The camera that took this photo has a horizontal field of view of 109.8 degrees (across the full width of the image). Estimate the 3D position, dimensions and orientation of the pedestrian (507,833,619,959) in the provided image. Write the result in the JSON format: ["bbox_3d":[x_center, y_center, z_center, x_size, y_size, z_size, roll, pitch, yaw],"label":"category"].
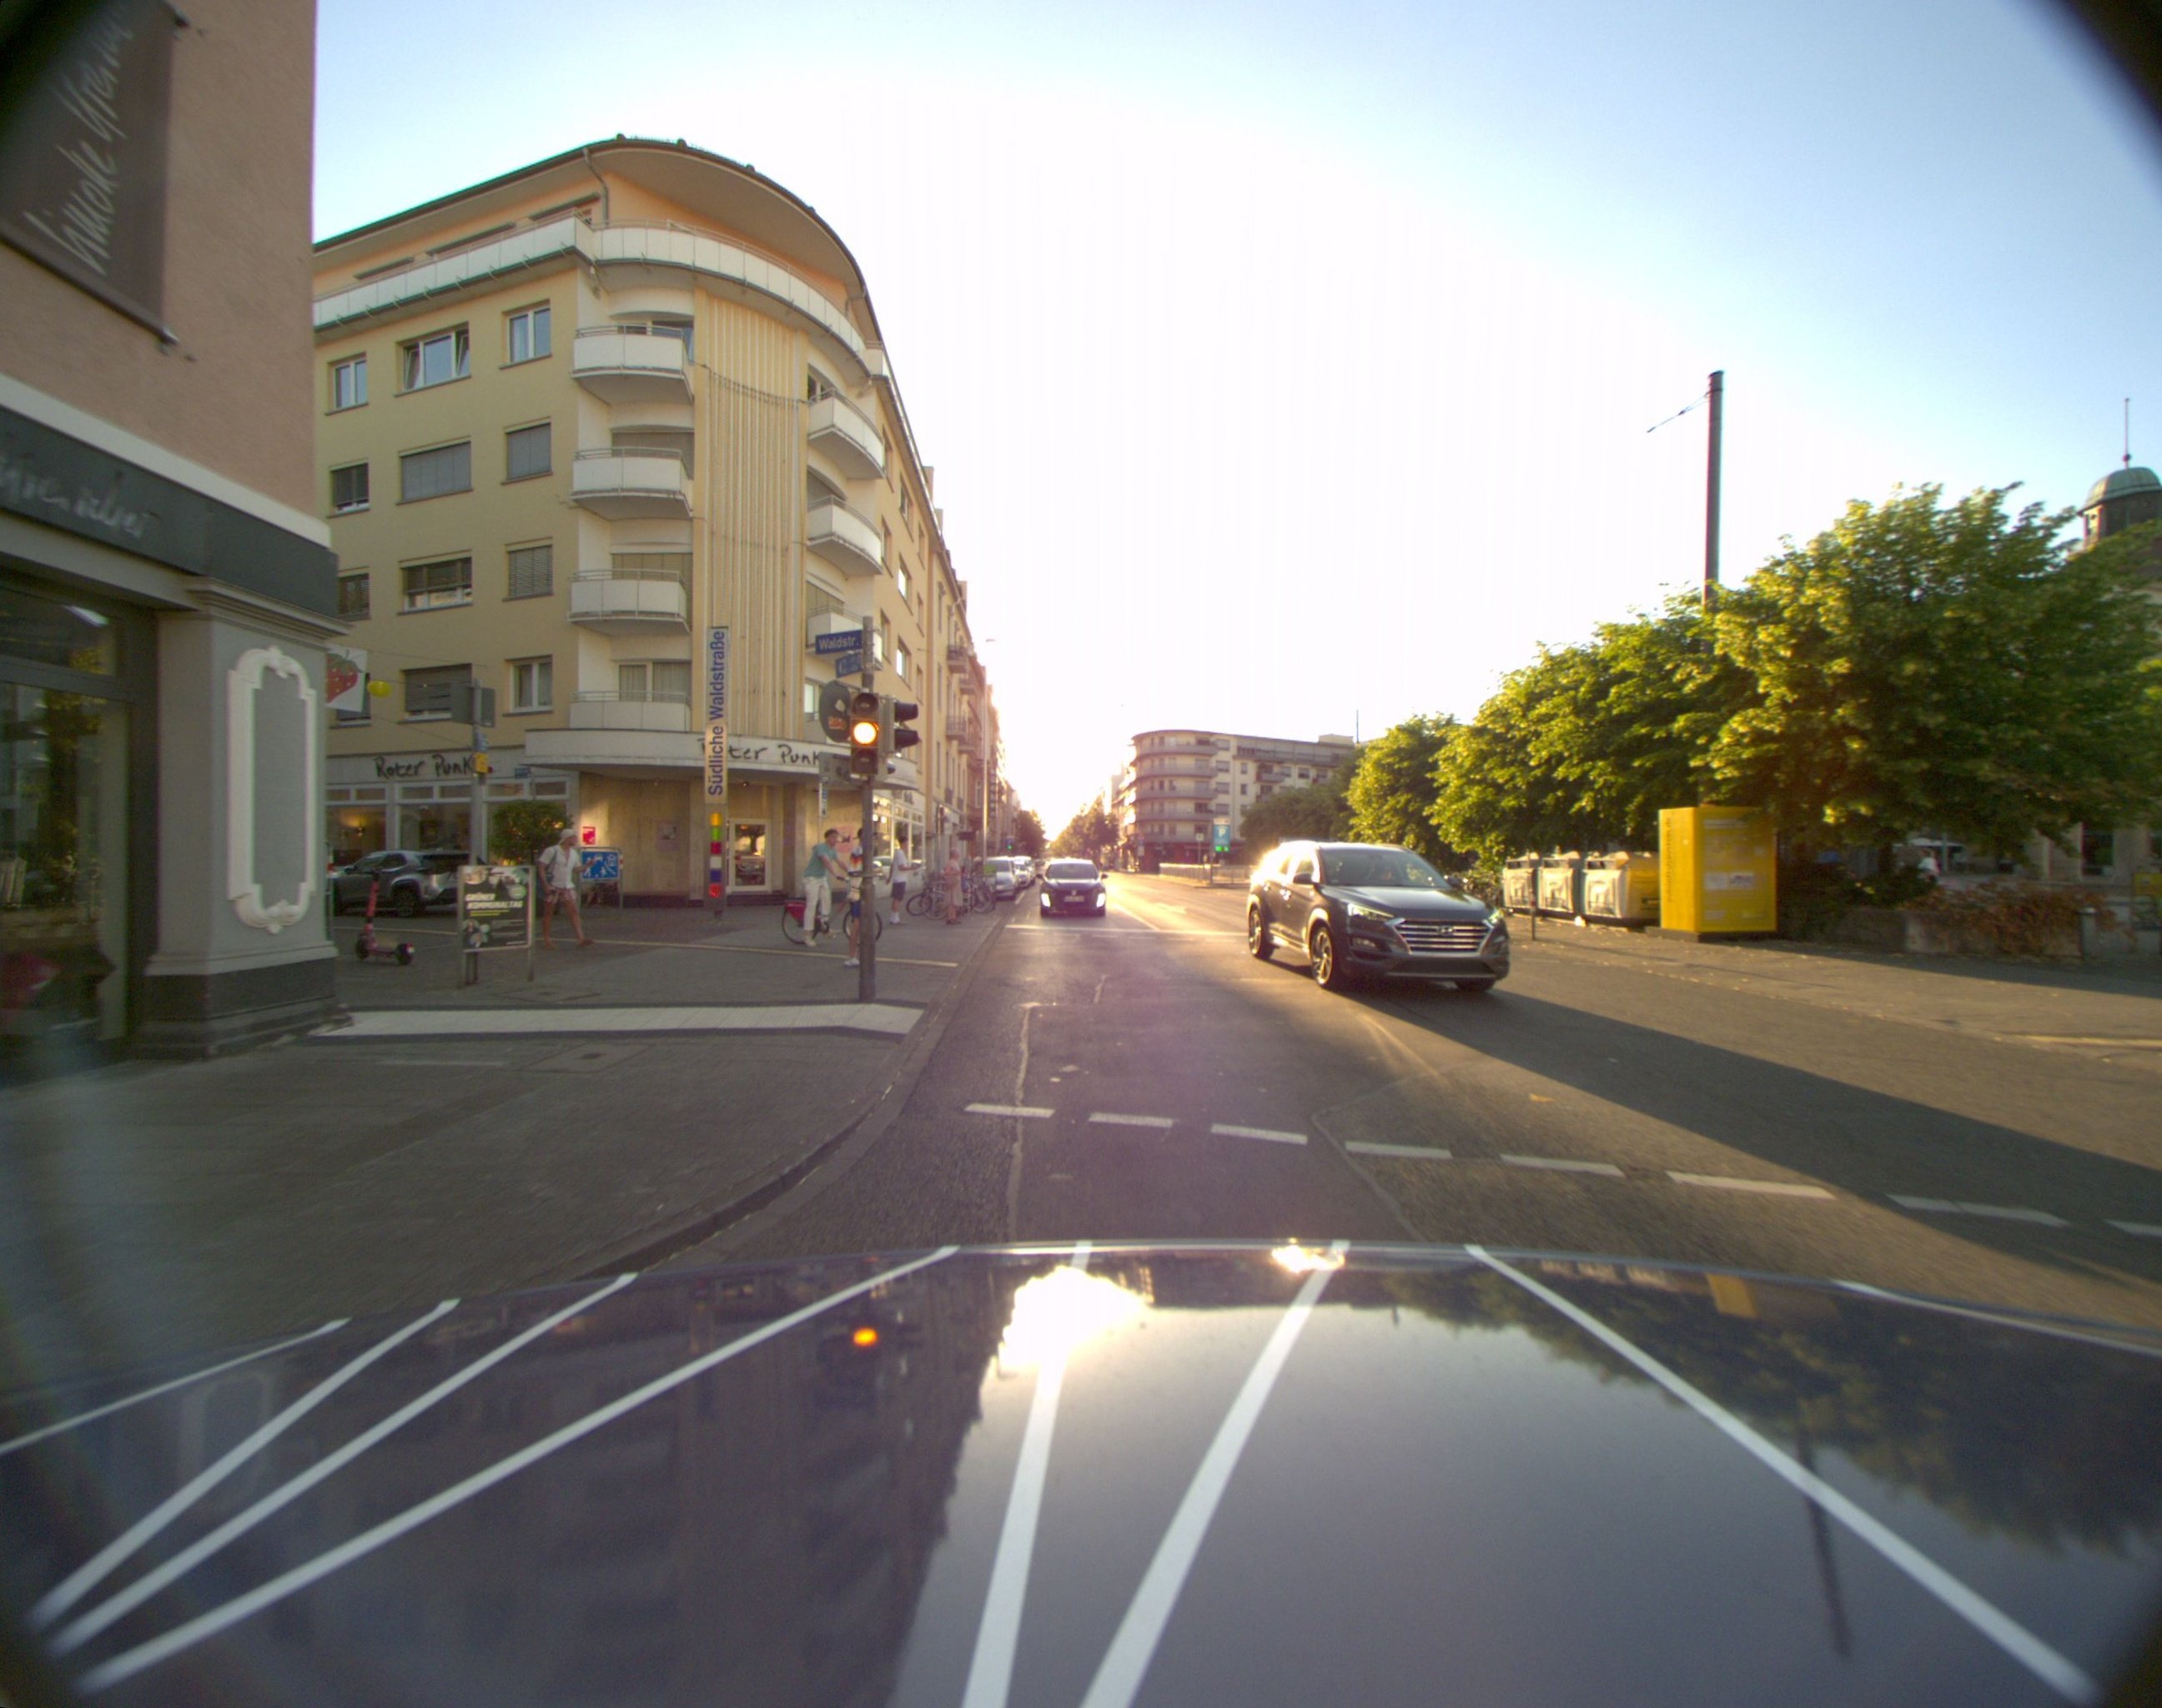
[{"bbox_3d":[-7.594,0.592,11.168,1.099,1.764,0.827,1,1,11],"label":"pedestrian"}]

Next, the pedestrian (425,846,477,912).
[{"bbox_3d":[-16.420,0.635,19.811,0.731,1.659,0.757,0,1,21],"label":"pedestrian"}]

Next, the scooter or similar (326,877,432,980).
[{"bbox_3d":[-8.879,0.913,9.612,1.255,1.207,0.468,0,1,20],"label":"scooter or similar"}]

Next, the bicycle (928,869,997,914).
[{"bbox_3d":[-3.252,1.022,20.816,1.789,1.166,0.621,2,0,-14],"label":"bicycle"}]

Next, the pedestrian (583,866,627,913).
[{"bbox_3d":[-12.362,0.905,19.736,0.636,1.178,0.706,0,1,15],"label":"pedestrian"}]

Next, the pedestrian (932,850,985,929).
[{"bbox_3d":[-2.639,0.745,16.387,0.789,1.643,0.782,1,1,41],"label":"pedestrian"}]

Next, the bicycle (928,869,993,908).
[{"bbox_3d":[-3.604,1.040,22.755,1.851,1.117,0.594,1,1,-14],"label":"bicycle"}]

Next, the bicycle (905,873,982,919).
[{"bbox_3d":[-3.347,1.011,18.494,1.789,1.057,0.718,2,0,-14],"label":"bicycle"}]

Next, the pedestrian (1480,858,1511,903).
[{"bbox_3d":[18.749,1.205,34.373,0.907,2.002,0.855,0,0,-16],"label":"pedestrian"}]

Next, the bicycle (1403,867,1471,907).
[{"bbox_3d":[11.678,1.083,24.925,2.031,1.245,0.548,-1,1,-6],"label":"bicycle"}]

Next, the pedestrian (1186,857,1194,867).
[{"bbox_3d":[13.762,0.991,95.920,0.733,1.314,0.888,0,0,-5],"label":"pedestrian"}]

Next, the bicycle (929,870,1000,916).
[{"bbox_3d":[-3.089,1.026,20.191,1.789,1.166,0.621,2,0,-14],"label":"bicycle"}]

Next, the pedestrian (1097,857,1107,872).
[{"bbox_3d":[2.154,1.072,77.967,0.678,1.509,0.676,0,0,-45],"label":"pedestrian"}]

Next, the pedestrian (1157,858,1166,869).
[{"bbox_3d":[10.005,1.170,94.536,0.890,1.314,0.731,0,0,-29],"label":"pedestrian"}]

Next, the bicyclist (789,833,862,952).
[{"bbox_3d":[-4.025,0.586,12.032,0.835,1.815,0.831,0,0,5],"label":"bicyclist"}]

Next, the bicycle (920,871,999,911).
[{"bbox_3d":[-3.469,1.055,21.760,2.176,1.069,0.805,1,0,-9],"label":"bicycle"}]

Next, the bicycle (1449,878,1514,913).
[{"bbox_3d":[11.755,1.215,22.317,1.678,0.973,0.548,-1,0,-6],"label":"bicycle"}]

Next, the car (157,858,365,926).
[{"bbox_3d":[-21.180,0.911,19.658,4.432,1.576,1.948,0,0,18],"label":"car"}]

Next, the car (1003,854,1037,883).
[{"bbox_3d":[-3.663,0.853,46.551,1.877,1.664,4.429,0,0,-2],"label":"car"}]

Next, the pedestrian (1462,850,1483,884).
[{"bbox_3d":[23.572,0.786,45.754,0.907,2.002,0.738,0,0,-14],"label":"pedestrian"}]

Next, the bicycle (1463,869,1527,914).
[{"bbox_3d":[11.869,1.072,21.796,1.591,1.245,0.444,-1,1,-4],"label":"bicycle"}]

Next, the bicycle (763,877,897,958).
[{"bbox_3d":[-3.941,0.982,12.007,1.823,1.179,0.794,1,0,7],"label":"bicycle"}]

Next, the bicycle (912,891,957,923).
[{"bbox_3d":[-3.447,1.239,17.834,1.008,0.677,1.049,1,0,-12],"label":"bicycle"}]

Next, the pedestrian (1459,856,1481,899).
[{"bbox_3d":[18.623,1.110,36.362,0.904,2.002,0.740,0,0,25],"label":"pedestrian"}]

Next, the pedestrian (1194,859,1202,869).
[{"bbox_3d":[14.781,1.255,96.179,0.733,1.314,0.887,0,0,-16],"label":"pedestrian"}]

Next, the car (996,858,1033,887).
[{"bbox_3d":[-3.543,0.950,41.002,1.738,1.448,4.609,0,0,-2],"label":"car"}]

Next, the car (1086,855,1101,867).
[{"bbox_3d":[1.958,1.113,120.692,1.999,1.805,3.998,0,0,-4],"label":"car"}]

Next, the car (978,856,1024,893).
[{"bbox_3d":[-3.643,0.891,35.372,1.822,1.611,4.202,0,0,-2],"label":"car"}]

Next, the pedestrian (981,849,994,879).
[{"bbox_3d":[-6.308,0.649,51.332,0.763,2.002,0.851,0,0,-2],"label":"pedestrian"}]

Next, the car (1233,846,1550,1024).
[{"bbox_3d":[3.414,0.786,9.464,1.878,1.679,4.448,1,0,-4],"label":"car"}]

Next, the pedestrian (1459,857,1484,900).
[{"bbox_3d":[18.338,1.122,35.673,0.764,2.002,0.739,0,0,-1],"label":"pedestrian"}]

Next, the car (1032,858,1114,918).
[{"bbox_3d":[-0.101,0.840,20.948,1.907,1.438,4.451,0,0,4],"label":"car"}]

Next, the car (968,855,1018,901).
[{"bbox_3d":[-3.280,0.852,29.106,1.702,1.607,4.681,0,0,-4],"label":"car"}]

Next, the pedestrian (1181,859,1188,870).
[{"bbox_3d":[13.076,1.344,95.835,0.733,1.314,0.888,0,0,-3],"label":"pedestrian"}]

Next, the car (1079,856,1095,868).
[{"bbox_3d":[0.800,0.998,98.621,1.791,1.458,3.955,1,1,-4],"label":"car"}]

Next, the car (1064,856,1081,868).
[{"bbox_3d":[-1.304,1.181,111.714,1.878,1.621,4.176,3,-1,-8],"label":"car"}]

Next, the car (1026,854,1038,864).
[{"bbox_3d":[-9.458,0.982,145.883,2.000,1.806,3.996,1,2,-6],"label":"car"}]

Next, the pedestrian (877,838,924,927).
[{"bbox_3d":[-3.796,0.574,15.947,0.827,1.806,0.870,0,1,-23],"label":"pedestrian"}]

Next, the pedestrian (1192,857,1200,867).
[{"bbox_3d":[14.672,0.990,97.208,0.689,1.314,0.819,0,0,-26],"label":"pedestrian"}]

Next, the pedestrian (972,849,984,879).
[{"bbox_3d":[-6.985,0.651,51.603,0.674,2.002,0.851,0,1,-2],"label":"pedestrian"}]

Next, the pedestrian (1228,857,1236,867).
[{"bbox_3d":[19.583,1.025,98.409,0.731,1.314,0.891,0,0,37],"label":"pedestrian"}]

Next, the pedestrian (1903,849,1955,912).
[{"bbox_3d":[22.401,0.674,20.081,0.703,1.611,0.842,0,1,33],"label":"pedestrian"}]

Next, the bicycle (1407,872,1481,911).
[{"bbox_3d":[11.063,1.138,23.165,2.031,1.128,0.548,-1,1,-6],"label":"bicycle"}]

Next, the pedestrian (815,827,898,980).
[{"bbox_3d":[-2.959,0.613,9.960,0.942,1.886,0.824,0,1,-24],"label":"pedestrian"}]

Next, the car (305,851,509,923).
[{"bbox_3d":[-16.002,0.721,18.081,3.980,1.583,1.838,0,0,17],"label":"car"}]

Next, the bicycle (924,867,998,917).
[{"bbox_3d":[-3.057,0.964,19.444,1.849,1.232,0.639,1,0,-8],"label":"bicycle"}]
